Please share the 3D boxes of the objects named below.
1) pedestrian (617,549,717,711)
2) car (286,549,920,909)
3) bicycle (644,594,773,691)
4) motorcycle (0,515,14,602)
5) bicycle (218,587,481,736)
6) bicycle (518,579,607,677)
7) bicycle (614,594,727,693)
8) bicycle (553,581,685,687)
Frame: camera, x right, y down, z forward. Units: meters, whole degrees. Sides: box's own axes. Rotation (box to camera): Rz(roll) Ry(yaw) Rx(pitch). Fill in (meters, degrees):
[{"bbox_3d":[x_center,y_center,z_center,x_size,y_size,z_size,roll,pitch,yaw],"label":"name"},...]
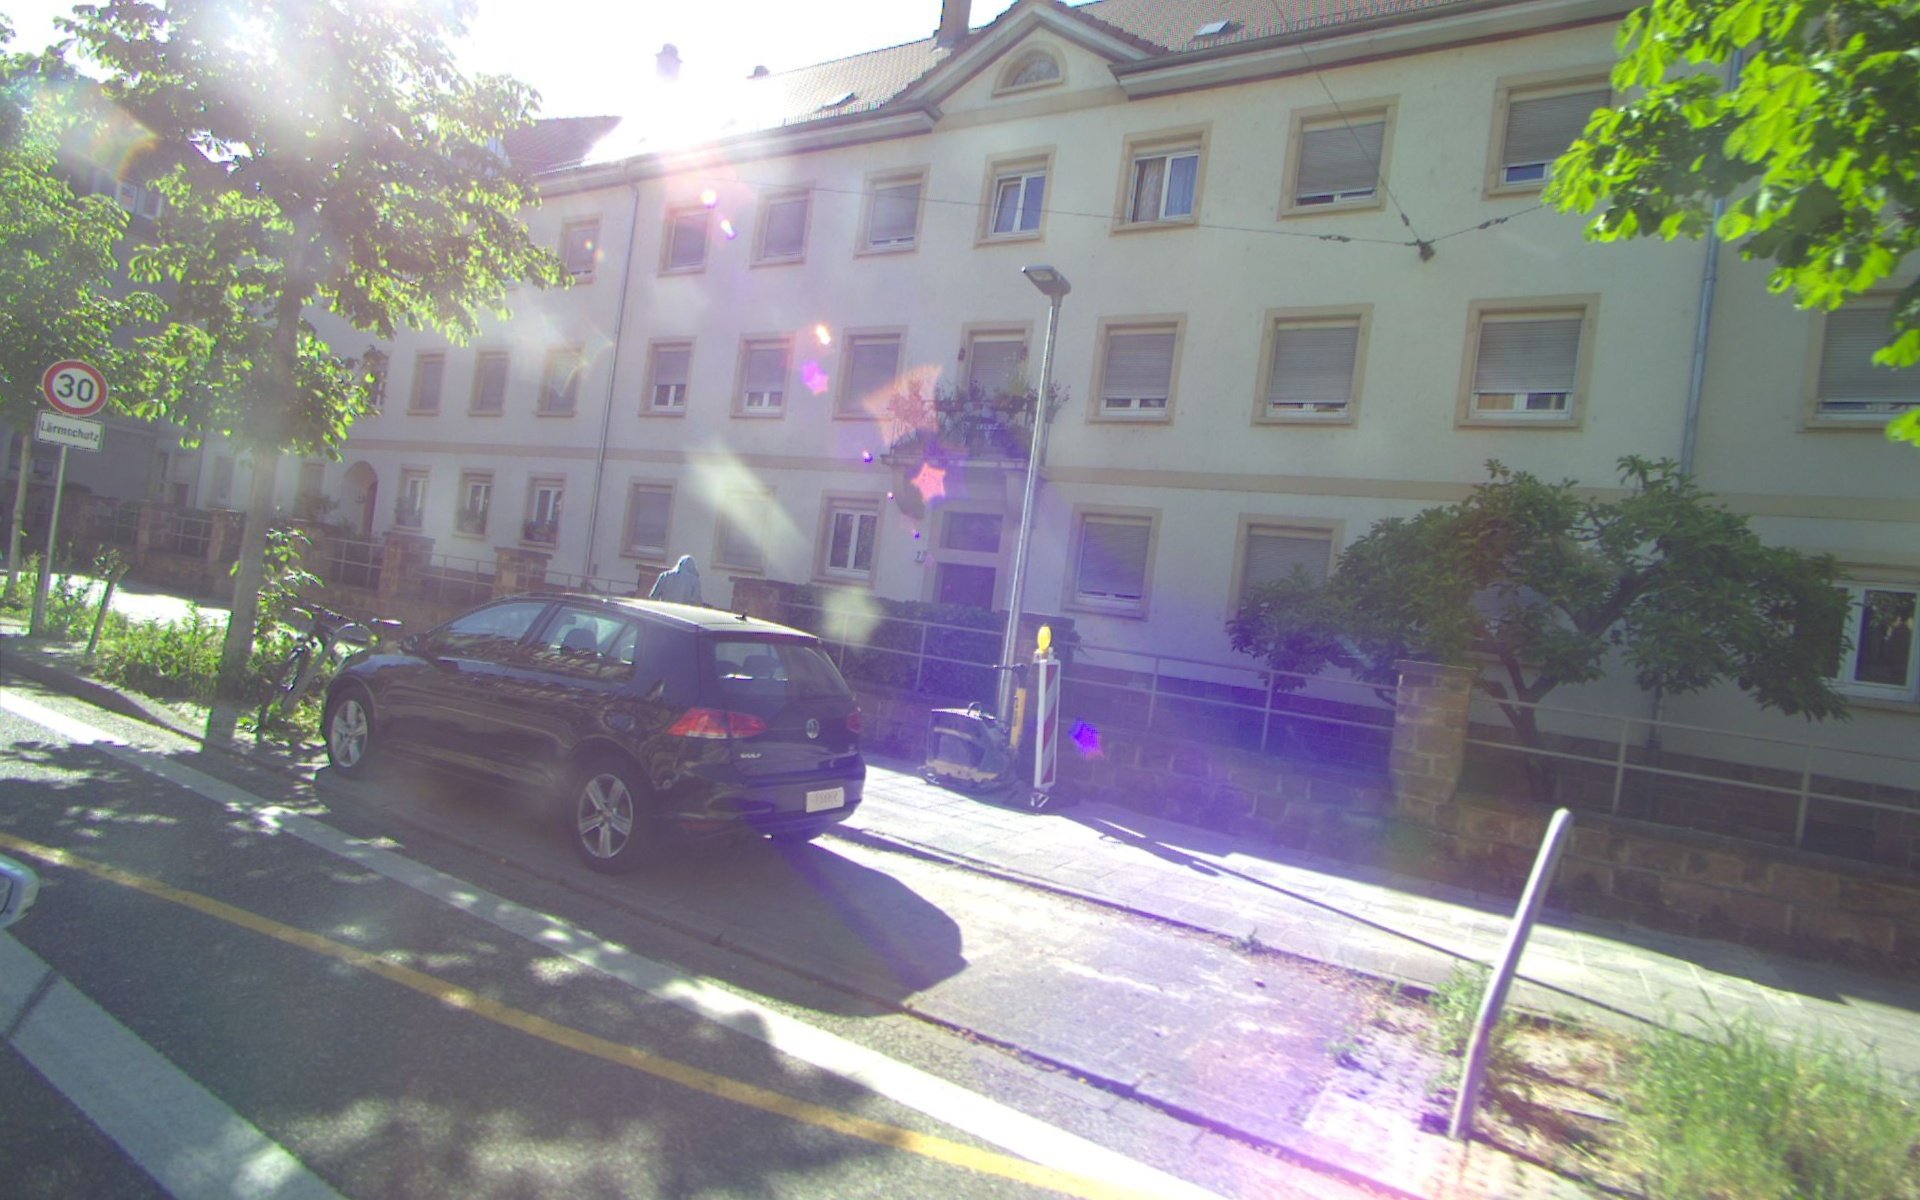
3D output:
[{"bbox_3d":[-3.396,0.350,11.658,0.758,1.743,0.575,9,-2,-30],"label":"pedestrian"},{"bbox_3d":[-2.484,0.668,6.773,3.977,1.481,1.790,7,-1,31],"label":"car"},{"bbox_3d":[-3.734,0.613,14.868,1.885,1.165,0.546,7,-2,32],"label":"bicycle"},{"bbox_3d":[-14.355,-0.687,14.387,1.828,1.207,0.496,7,3,24],"label":"motorcycle"},{"bbox_3d":[-5.138,0.525,8.613,0.610,1.080,1.797,7,0,26],"label":"bicycle"},{"bbox_3d":[-5.889,0.399,14.867,1.403,1.275,0.349,7,-2,36],"label":"bicycle"},{"bbox_3d":[-4.069,0.592,14.083,1.548,1.165,0.442,7,-2,32],"label":"bicycle"},{"bbox_3d":[-4.594,0.442,13.511,1.885,1.166,0.448,7,-1,32],"label":"bicycle"}]
